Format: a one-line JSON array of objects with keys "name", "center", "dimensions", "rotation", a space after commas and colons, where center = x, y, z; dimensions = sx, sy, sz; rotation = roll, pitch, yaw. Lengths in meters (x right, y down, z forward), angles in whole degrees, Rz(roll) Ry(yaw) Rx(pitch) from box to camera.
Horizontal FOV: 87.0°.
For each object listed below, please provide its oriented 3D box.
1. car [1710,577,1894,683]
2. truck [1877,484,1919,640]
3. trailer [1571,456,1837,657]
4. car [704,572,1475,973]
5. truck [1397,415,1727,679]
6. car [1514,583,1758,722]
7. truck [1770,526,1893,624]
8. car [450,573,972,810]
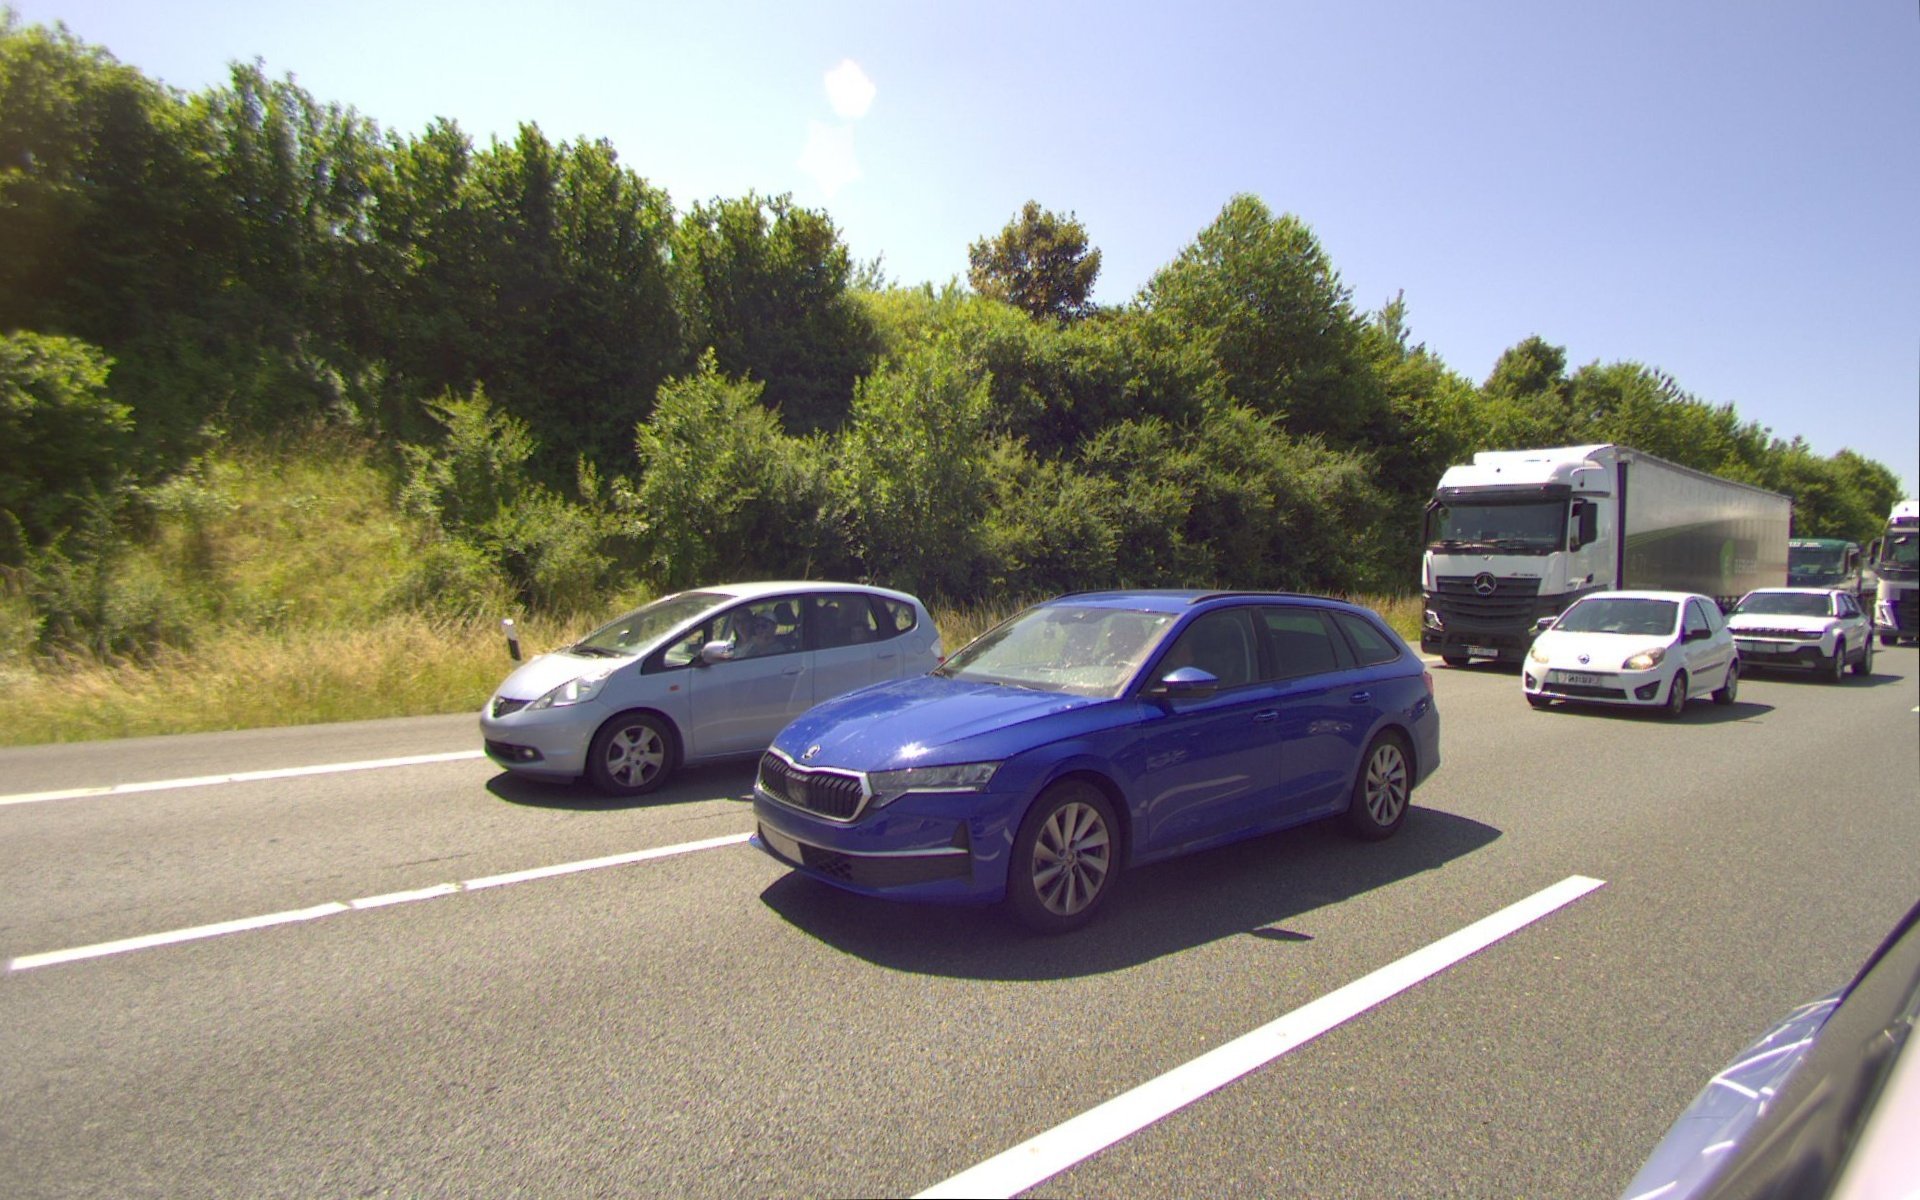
[{"name": "car", "center": [14.647, 0.419, 17.548], "dimensions": [3.816, 1.577, 1.748], "rotation": [-1, 3, -40]}, {"name": "truck", "center": [28.444, -1.032, 28.415], "dimensions": [8.210, 4.044, 2.750], "rotation": [-1, 1, -39]}, {"name": "trailer", "center": [19.578, -1.019, 26.141], "dimensions": [11.862, 4.208, 2.879], "rotation": [-1, 1, -40]}, {"name": "car", "center": [1.005, 0.573, 5.805], "dimensions": [4.490, 1.434, 1.781], "rotation": [-1, 3, -39]}, {"name": "truck", "center": [12.089, -0.916, 19.910], "dimensions": [8.322, 4.208, 2.880], "rotation": [-1, 1, -39]}, {"name": "car", "center": [8.725, 0.543, 12.953], "dimensions": [3.743, 1.451, 1.608], "rotation": [-1, 3, -40]}, {"name": "truck", "center": [30.727, -0.865, 35.625], "dimensions": [5.573, 3.185, 2.299], "rotation": [-1, 1, -39]}, {"name": "car", "center": [-1.887, 0.546, 8.339], "dimensions": [3.854, 1.479, 1.665], "rotation": [-1, 2, -42]}]
